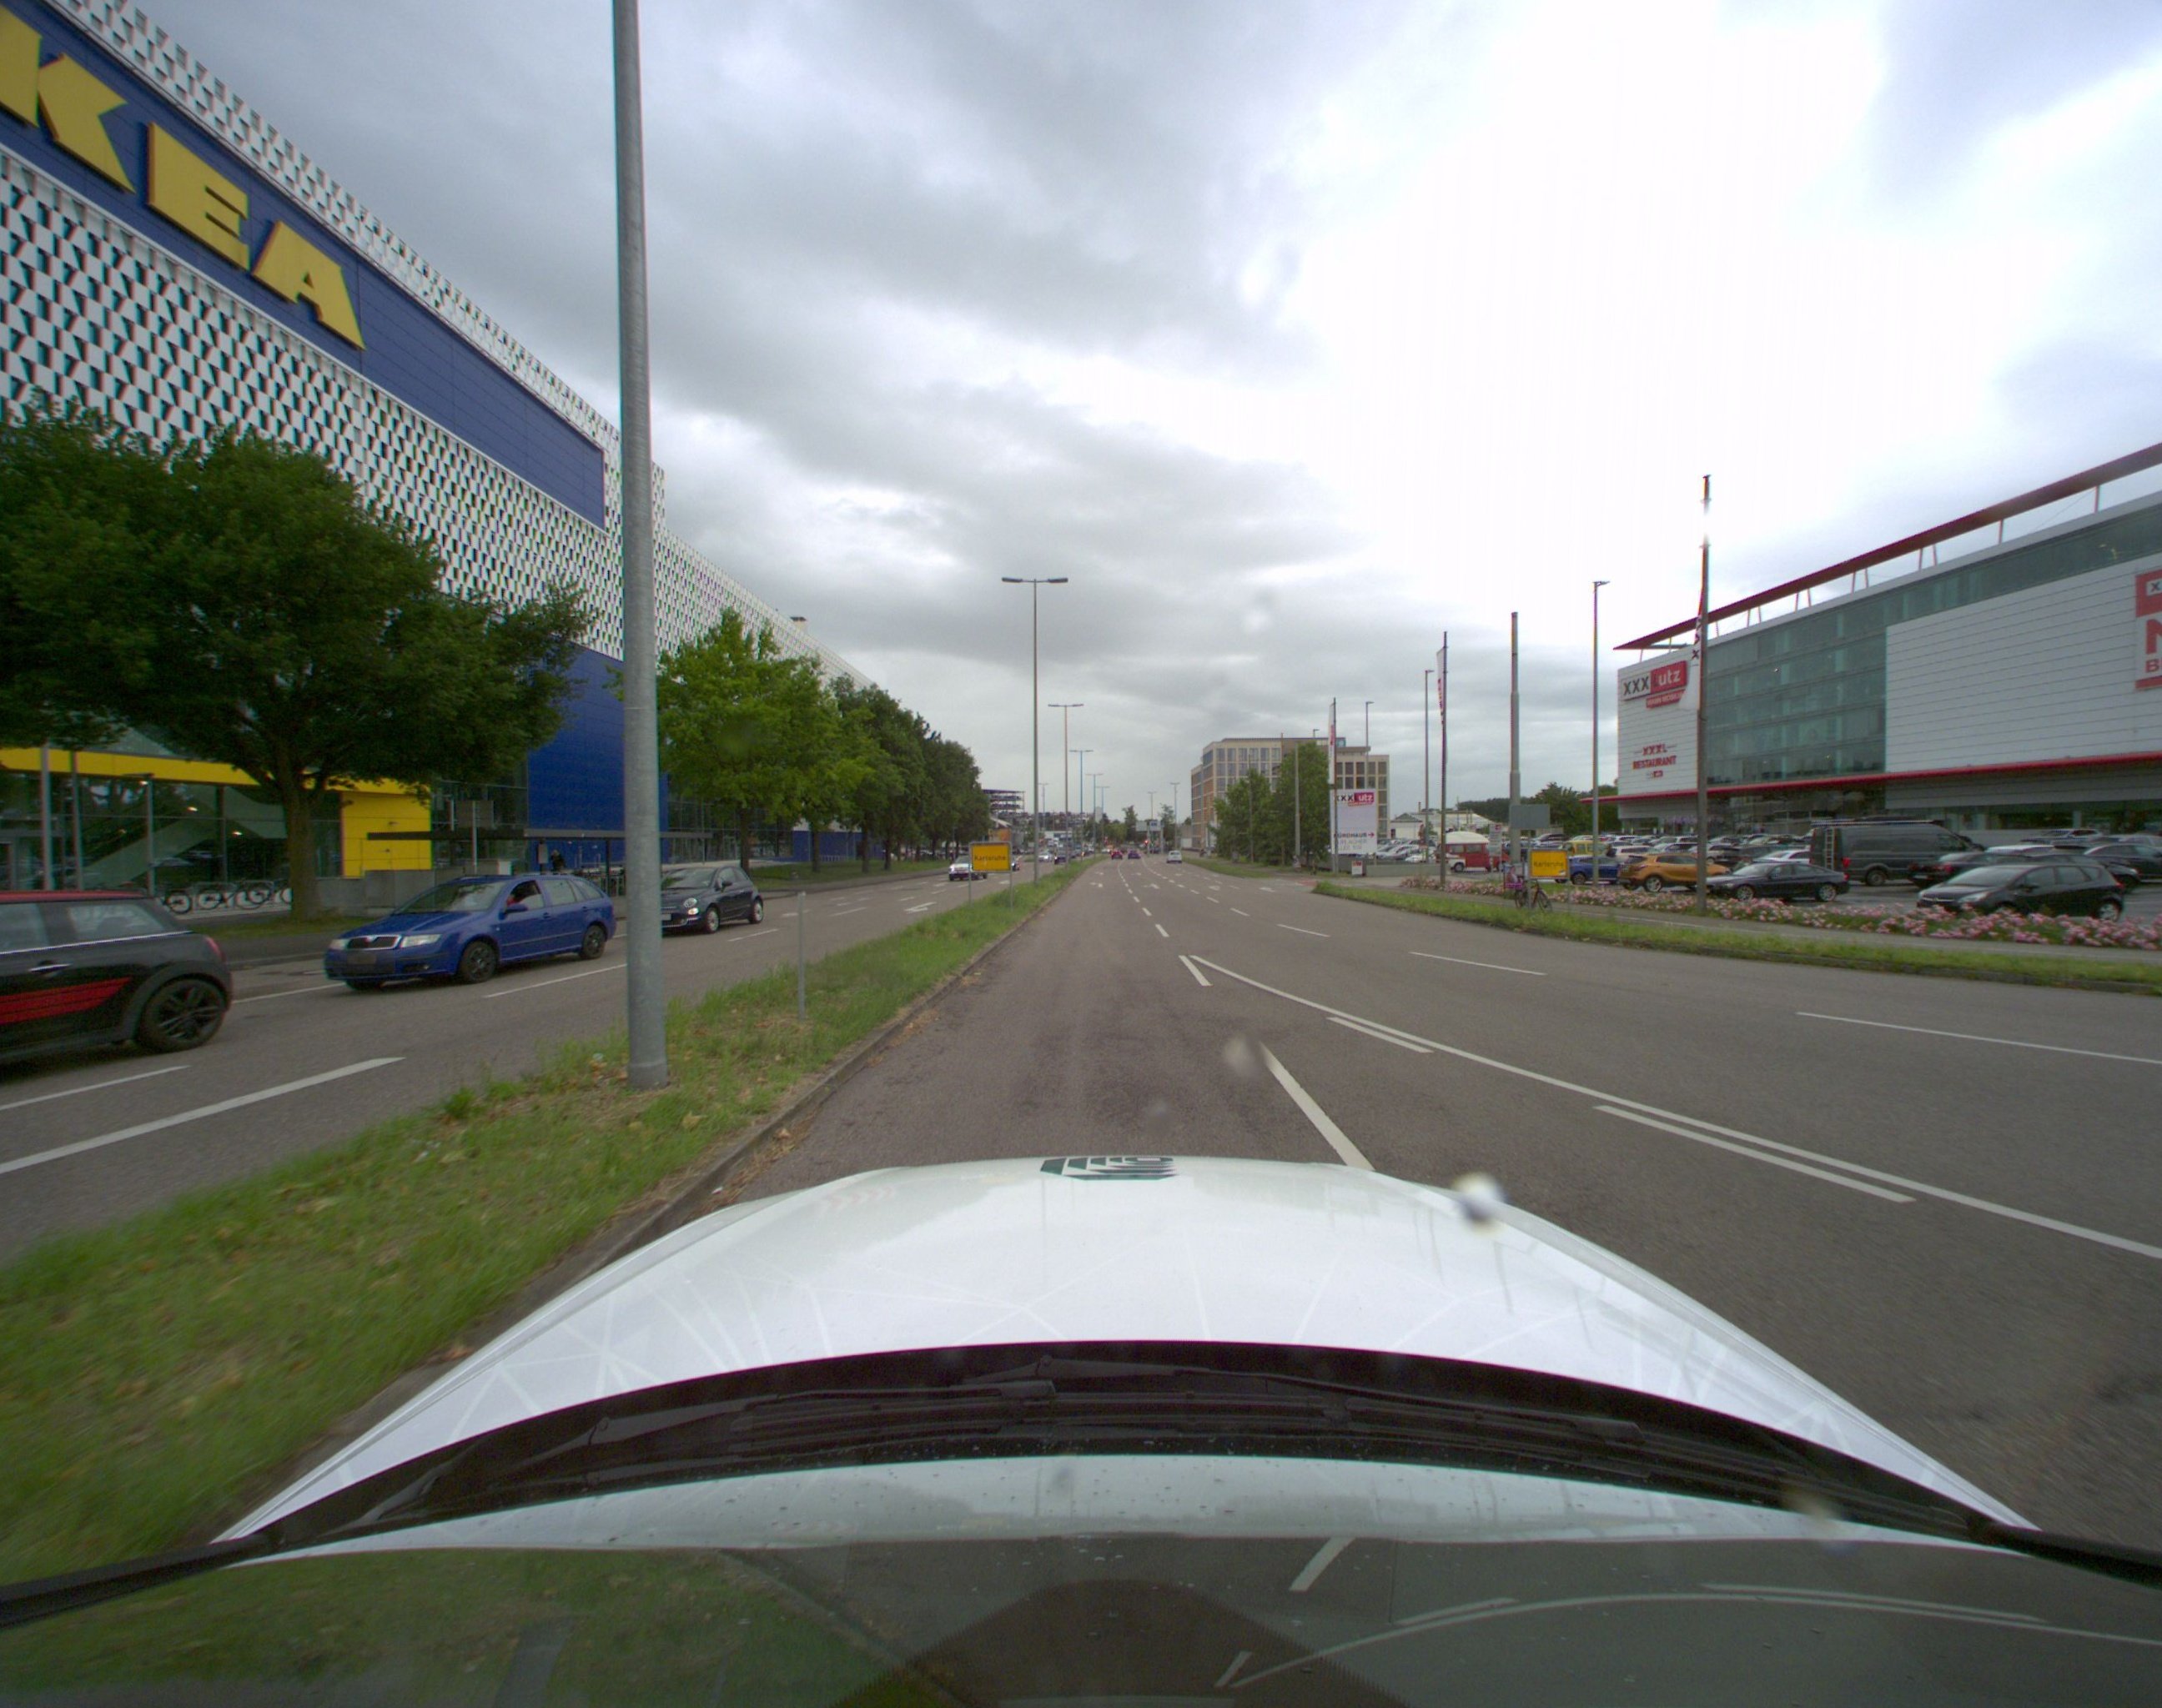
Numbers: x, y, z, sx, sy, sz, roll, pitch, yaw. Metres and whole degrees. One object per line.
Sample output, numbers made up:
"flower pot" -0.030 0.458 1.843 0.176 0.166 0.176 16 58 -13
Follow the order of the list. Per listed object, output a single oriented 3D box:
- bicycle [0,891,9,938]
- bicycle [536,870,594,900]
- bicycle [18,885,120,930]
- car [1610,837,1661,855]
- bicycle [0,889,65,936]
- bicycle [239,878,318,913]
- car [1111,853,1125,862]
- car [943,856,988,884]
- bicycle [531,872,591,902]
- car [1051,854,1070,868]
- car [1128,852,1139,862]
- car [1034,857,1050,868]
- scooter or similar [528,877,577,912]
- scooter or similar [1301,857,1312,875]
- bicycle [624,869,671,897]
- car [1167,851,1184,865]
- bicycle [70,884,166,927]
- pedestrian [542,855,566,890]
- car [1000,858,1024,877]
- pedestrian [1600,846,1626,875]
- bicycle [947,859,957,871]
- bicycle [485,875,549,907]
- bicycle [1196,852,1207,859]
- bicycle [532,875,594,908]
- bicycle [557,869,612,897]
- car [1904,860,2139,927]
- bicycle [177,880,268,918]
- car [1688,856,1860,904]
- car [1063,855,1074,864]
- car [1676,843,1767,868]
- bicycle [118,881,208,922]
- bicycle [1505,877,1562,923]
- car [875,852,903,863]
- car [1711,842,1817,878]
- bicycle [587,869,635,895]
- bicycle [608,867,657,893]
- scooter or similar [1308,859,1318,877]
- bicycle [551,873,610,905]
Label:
"bicycle" -27.737 1.498 19.835 2.019 1.157 0.591 1 0 -15
"bicycle" -21.481 1.284 33.923 2.008 1.157 0.594 1 0 1
"bicycle" -27.742 1.471 22.333 2.009 1.157 0.593 1 0 0
"car" 51.636 -0.723 75.838 3.550 1.587 1.743 0 0 6
"bicycle" -27.883 1.516 21.230 2.009 1.157 0.593 1 0 0
"bicycle" -27.576 1.422 28.008 2.012 1.157 0.593 1 0 -5
"car" 5.767 0.588 127.339 1.980 1.428 4.242 0 -1 1
"car" -7.051 0.959 50.321 1.923 1.519 4.185 -3 0 3
"bicycle" -20.952 1.317 32.806 2.008 1.157 0.594 1 0 1
"car" -2.359 0.791 94.140 1.924 1.486 4.440 -2 0 1
"car" 8.629 0.479 134.777 1.827 1.514 4.004 0 2 3
"car" -5.520 1.131 114.521 1.859 1.454 4.170 -2 0 2
"scooter or similar" -18.378 1.403 28.353 0.419 1.148 1.357 1 0 33
"scooter or similar" 17.832 0.932 64.510 0.646 1.421 1.824 -1 0 11
"bicycle" -19.580 1.299 36.770 2.000 1.157 0.596 1 0 16
"car" 11.831 0.506 102.357 1.985 1.752 4.185 0 0 4
"bicycle" -27.695 1.465 23.438 2.009 1.157 0.593 1 0 0
"pedestrian" -26.380 0.915 40.759 0.674 1.745 0.808 0 1 1
"car" -6.068 1.200 72.140 1.879 1.436 4.426 -3 1 -3
"pedestrian" 32.056 0.388 49.091 0.936 1.719 0.886 -1 2 0
"bicycle" -13.357 1.149 84.485 0.640 1.251 2.057 1 1 2
"bicycle" -21.388 1.401 30.882 2.008 1.157 0.594 1 0 1
"bicycle" 21.953 0.299 148.323 0.705 1.295 1.990 -1 1 -33
"bicycle" -19.305 1.404 30.364 1.887 1.157 0.594 1 0 1
"bicycle" -21.454 1.247 35.225 2.008 1.157 0.594 1 0 1
"car" 24.629 1.007 21.451 4.076 1.583 1.771 0 2 2
"bicycle" -27.547 1.442 26.165 2.017 1.157 0.591 1 0 -12
"car" 24.512 0.911 28.944 4.505 1.583 1.772 0 2 4
"car" -2.206 0.971 145.077 1.765 1.452 4.408 -2 0 3
"car" 40.111 0.093 51.056 4.221 1.468 1.741 0 2 3
"bicycle" -27.643 1.414 24.537 2.009 1.157 0.593 1 0 0
"bicycle" 11.165 1.125 20.156 0.659 1.048 1.695 -1 -1 8
"car" -38.082 0.735 161.461 5.118 1.963 1.880 -2 5 -2
"car" 34.913 0.288 41.707 3.878 1.654 1.832 -2 1 0
"bicycle" -21.093 1.255 36.536 1.803 1.082 0.594 1 0 1
"bicycle" -21.326 1.232 38.752 2.007 1.122 0.594 1 0 3
"scooter or similar" 15.919 0.986 55.948 0.368 1.191 1.249 -1 1 2
"bicycle" -19.301 1.359 31.445 1.887 1.157 0.594 1 0 1
